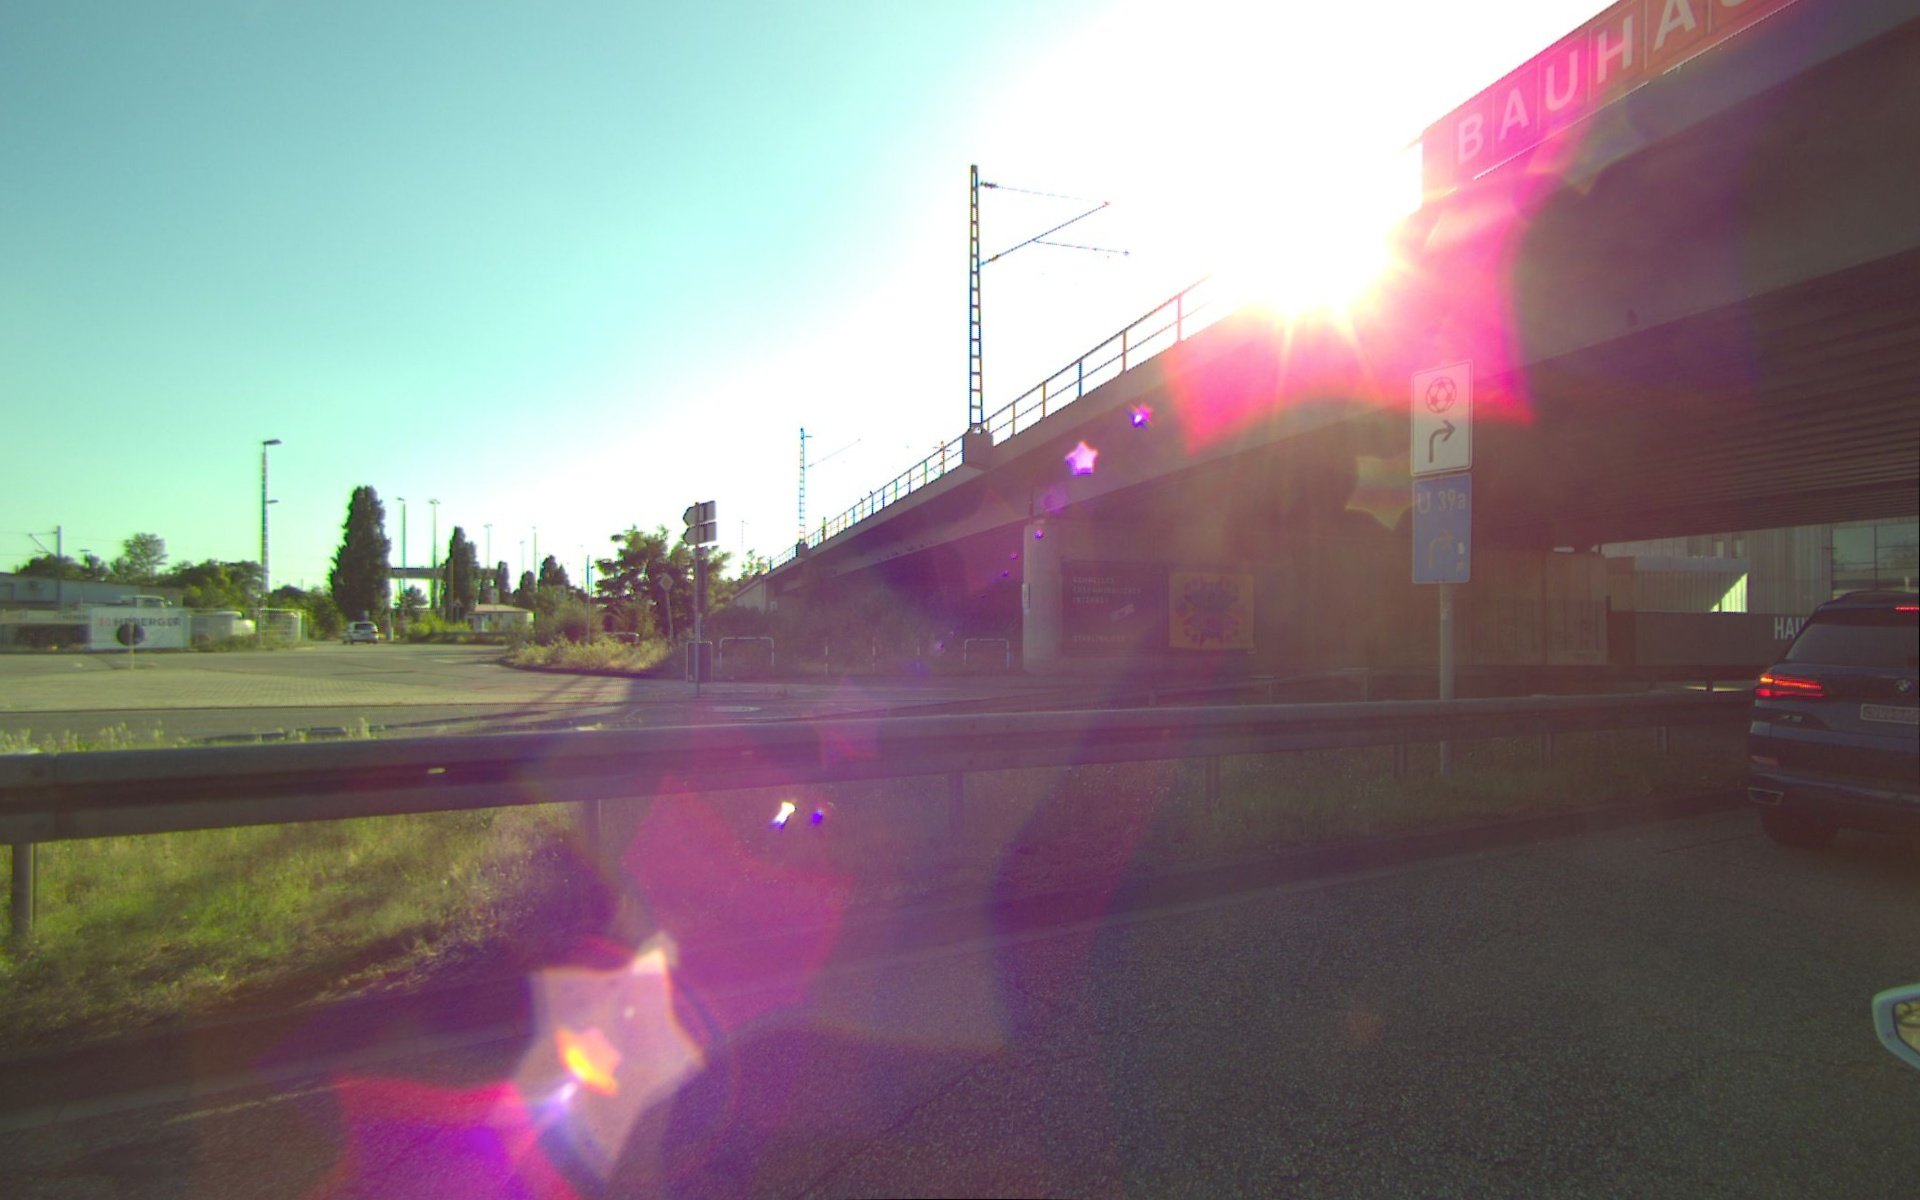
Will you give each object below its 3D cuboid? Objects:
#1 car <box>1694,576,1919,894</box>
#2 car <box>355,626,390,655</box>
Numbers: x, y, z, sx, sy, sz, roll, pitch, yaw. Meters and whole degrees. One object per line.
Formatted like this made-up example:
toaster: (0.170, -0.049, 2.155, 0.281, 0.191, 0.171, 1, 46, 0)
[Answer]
car: (7.255, 0.810, 6.695, 4.474, 1.757, 1.986, 2, 0, -27)
car: (-44.523, 3.048, 76.048, 1.980, 2.040, 3.961, 2, 0, -35)
